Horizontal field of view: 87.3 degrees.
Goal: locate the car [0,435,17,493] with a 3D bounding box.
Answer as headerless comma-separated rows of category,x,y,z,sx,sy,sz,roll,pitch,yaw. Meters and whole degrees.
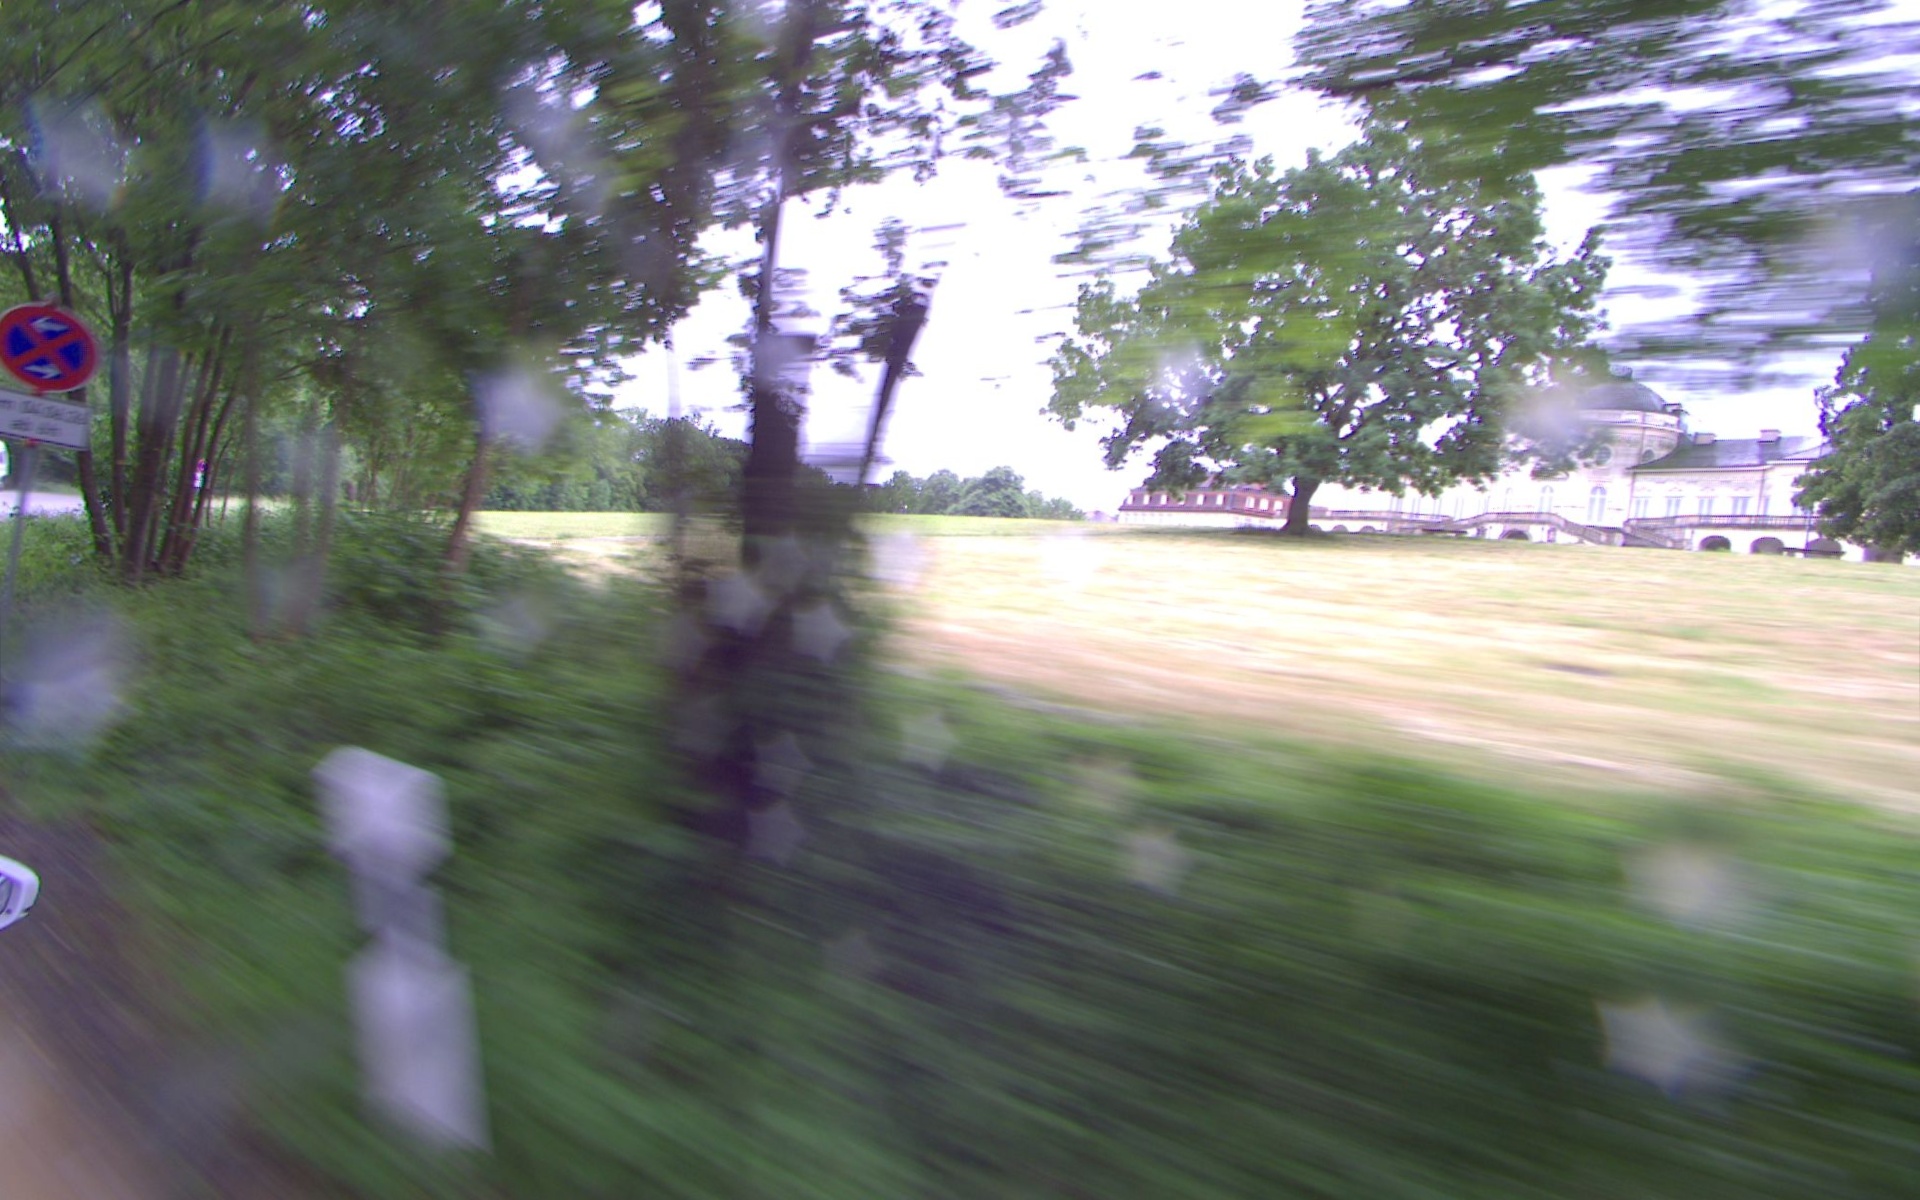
car,-46.424,-6.484,47.049,2.255,2.735,5.991,2,5,-33
